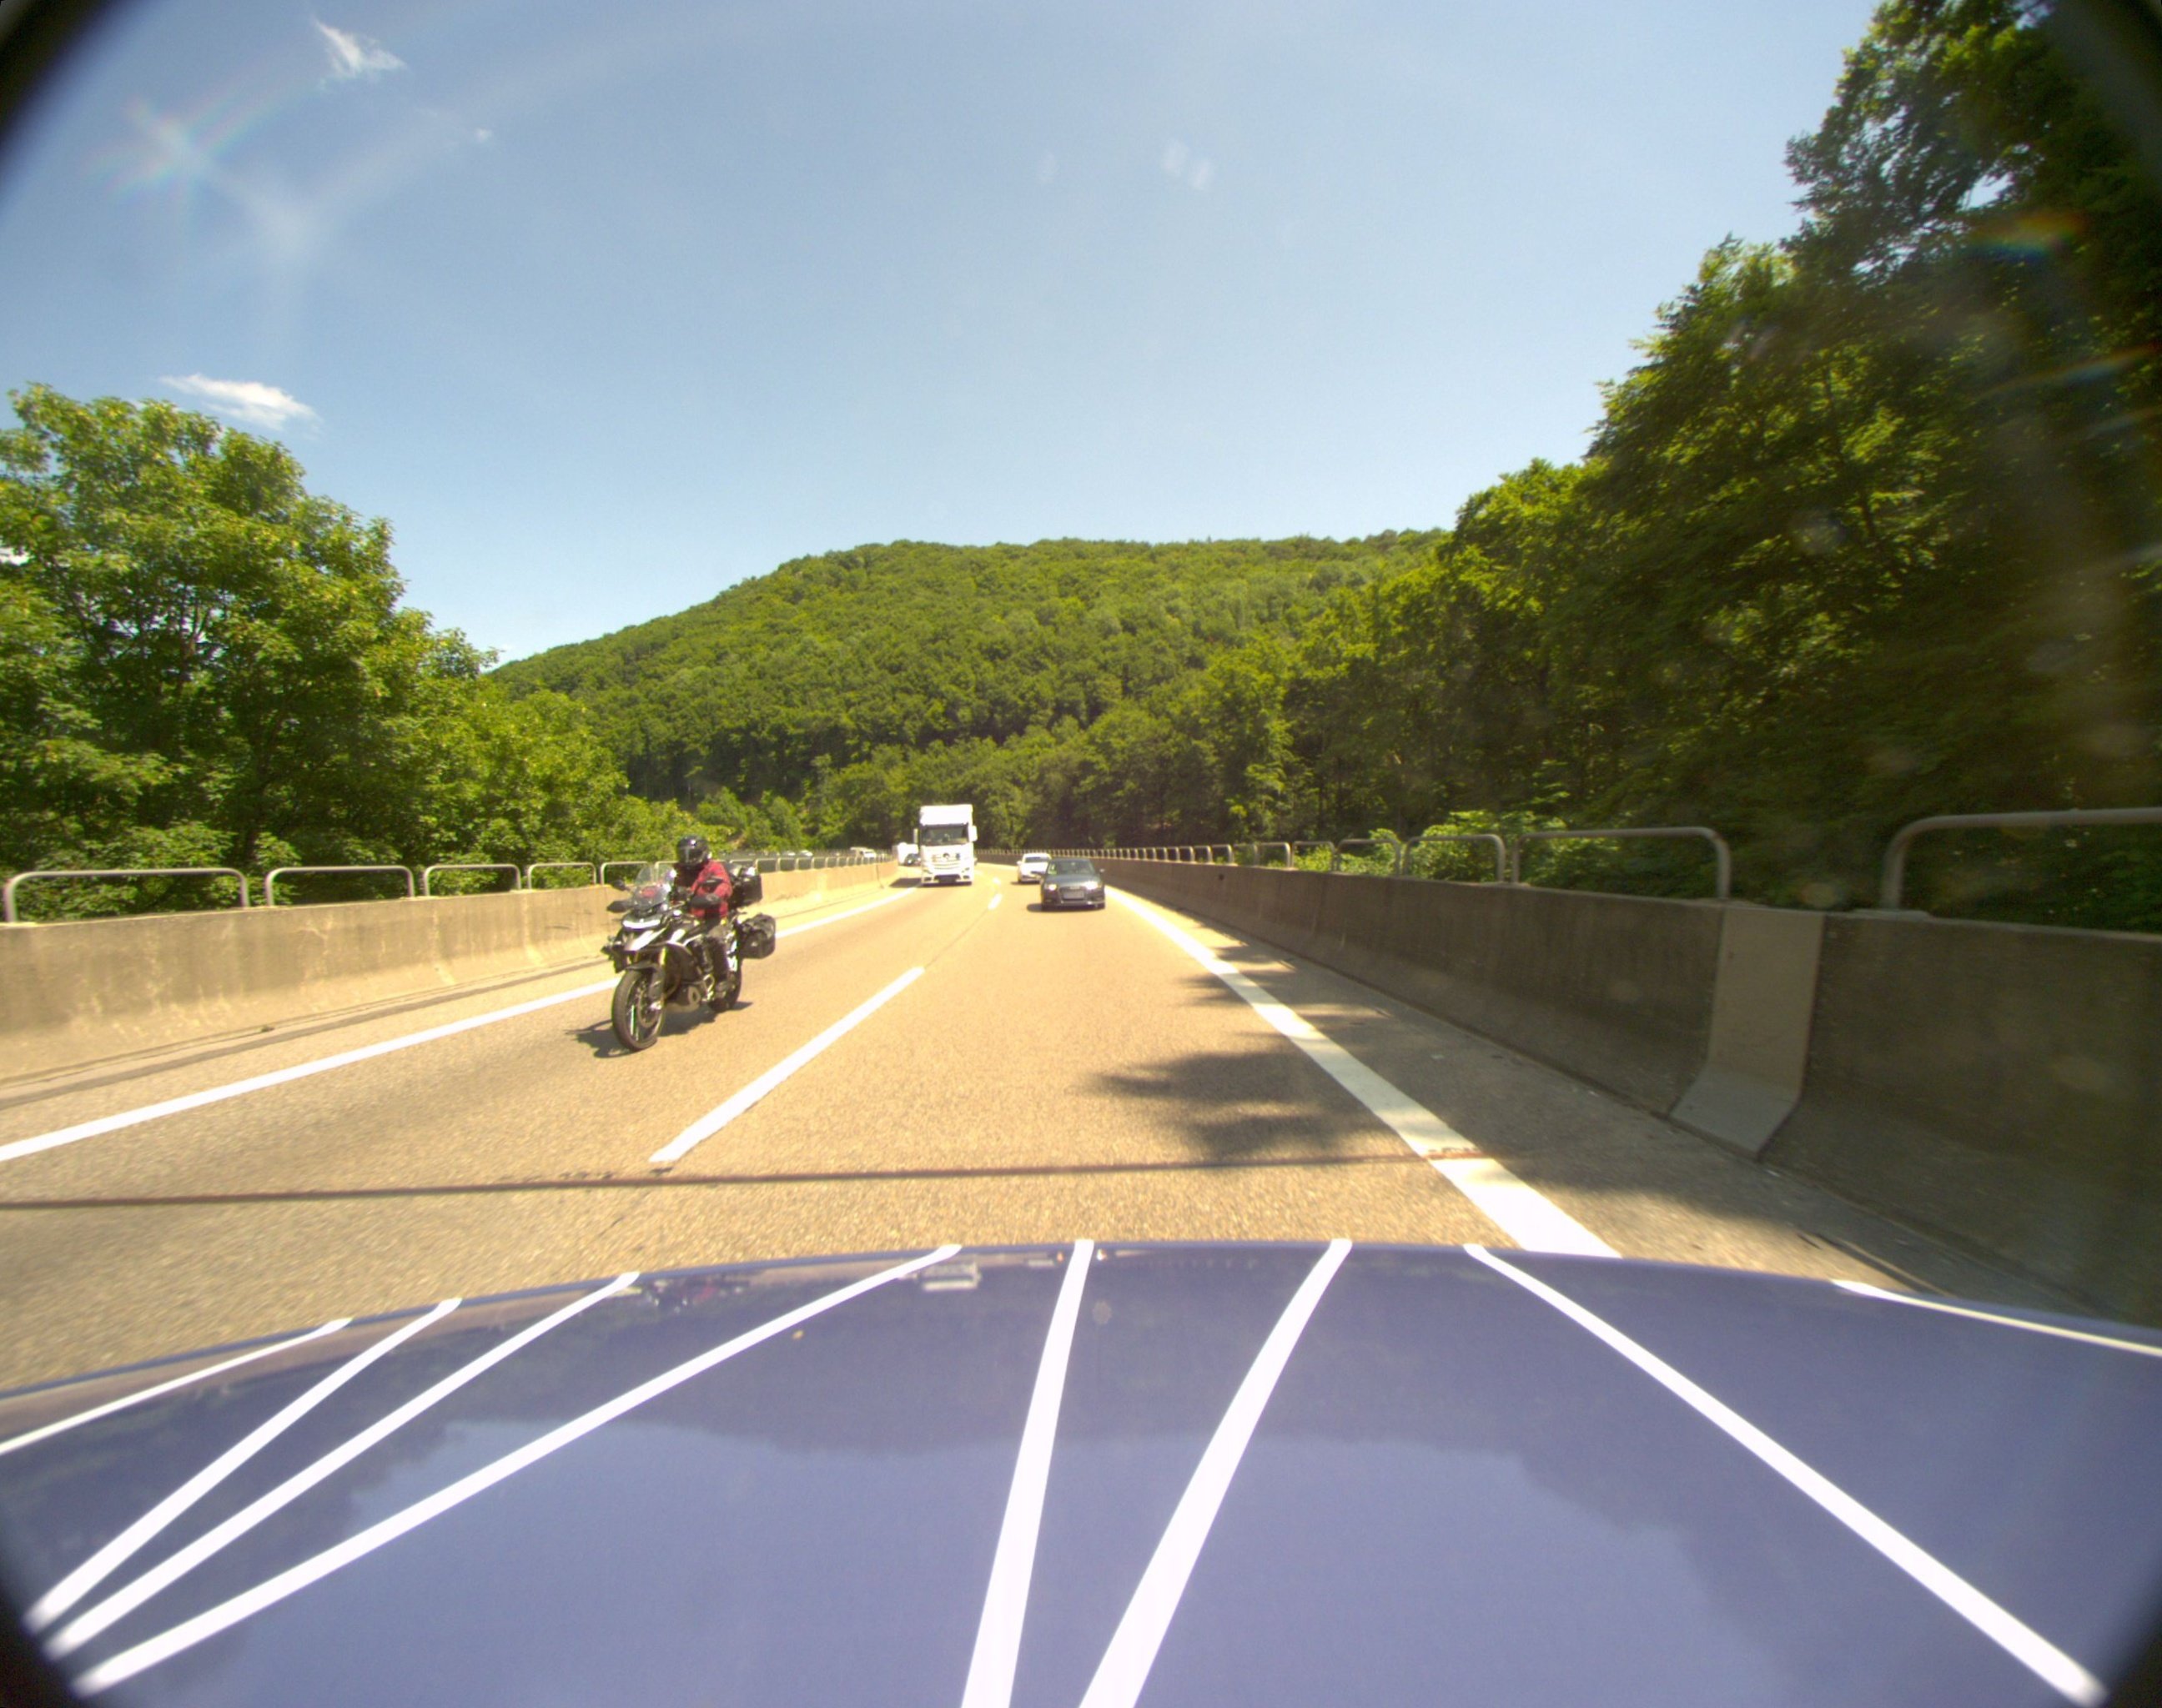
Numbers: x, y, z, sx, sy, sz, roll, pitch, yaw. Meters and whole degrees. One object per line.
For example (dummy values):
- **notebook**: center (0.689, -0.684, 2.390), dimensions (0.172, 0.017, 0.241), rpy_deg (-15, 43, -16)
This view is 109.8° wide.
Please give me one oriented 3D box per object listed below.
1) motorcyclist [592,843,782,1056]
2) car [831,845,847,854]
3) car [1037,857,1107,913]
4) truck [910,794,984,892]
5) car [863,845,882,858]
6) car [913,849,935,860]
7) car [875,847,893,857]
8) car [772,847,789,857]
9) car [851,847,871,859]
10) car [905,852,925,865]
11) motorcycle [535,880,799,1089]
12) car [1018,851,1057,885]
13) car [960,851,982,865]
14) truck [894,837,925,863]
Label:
- **motorcyclist**: center (-3.620, 0.803, 7.152), dimensions (1.063, 1.790, 1.337), rpy_deg (-2, 1, -3)
- **car**: center (-49.666, -0.842, 155.909), dimensions (2.003, 1.783, 3.989), rpy_deg (-2, 1, -36)
- **car**: center (-0.297, 0.802, 21.315), dimensions (1.756, 1.350, 4.121), rpy_deg (-1, 1, -2)
- **truck**: center (-6.989, -0.541, 40.610), dimensions (2.971, 4.109, 16.691), rpy_deg (-2, 1, -9)
- **car**: center (-33.408, -0.328, 121.682), dimensions (2.003, 2.002, 3.990), rpy_deg (-2, 1, -30)
- **car**: center (-21.937, 0.110, 105.909), dimensions (2.003, 1.445, 3.991), rpy_deg (-2, 1, -27)
- **car**: center (-34.691, -0.308, 133.764), dimensions (2.003, 1.783, 3.990), rpy_deg (-2, 1, -31)
- **car**: center (-69.195, -0.449, 174.849), dimensions (2.004, 2.002, 3.989), rpy_deg (-3, 1, -45)
- **car**: center (-36.611, -0.188, 126.489), dimensions (2.004, 2.002, 3.989), rpy_deg (-1, 1, -35)
- **car**: center (-19.404, 0.501, 88.964), dimensions (1.758, 1.480, 3.975), rpy_deg (-1, 1, -20)
- **motorcycle**: center (-3.585, 1.020, 7.016), dimensions (0.975, 1.411, 2.680), rpy_deg (-2, 1, -1)
- **car**: center (-2.203, 0.641, 37.696), dimensions (1.756, 1.460, 3.979), rpy_deg (-3, 1, -5)
- **car**: center (-12.176, 0.443, 83.917), dimensions (1.758, 1.480, 3.975), rpy_deg (-1, 1, -18)
- **truck**: center (-21.278, -0.464, 94.013), dimensions (2.621, 3.084, 6.842), rpy_deg (-2, 1, -22)
